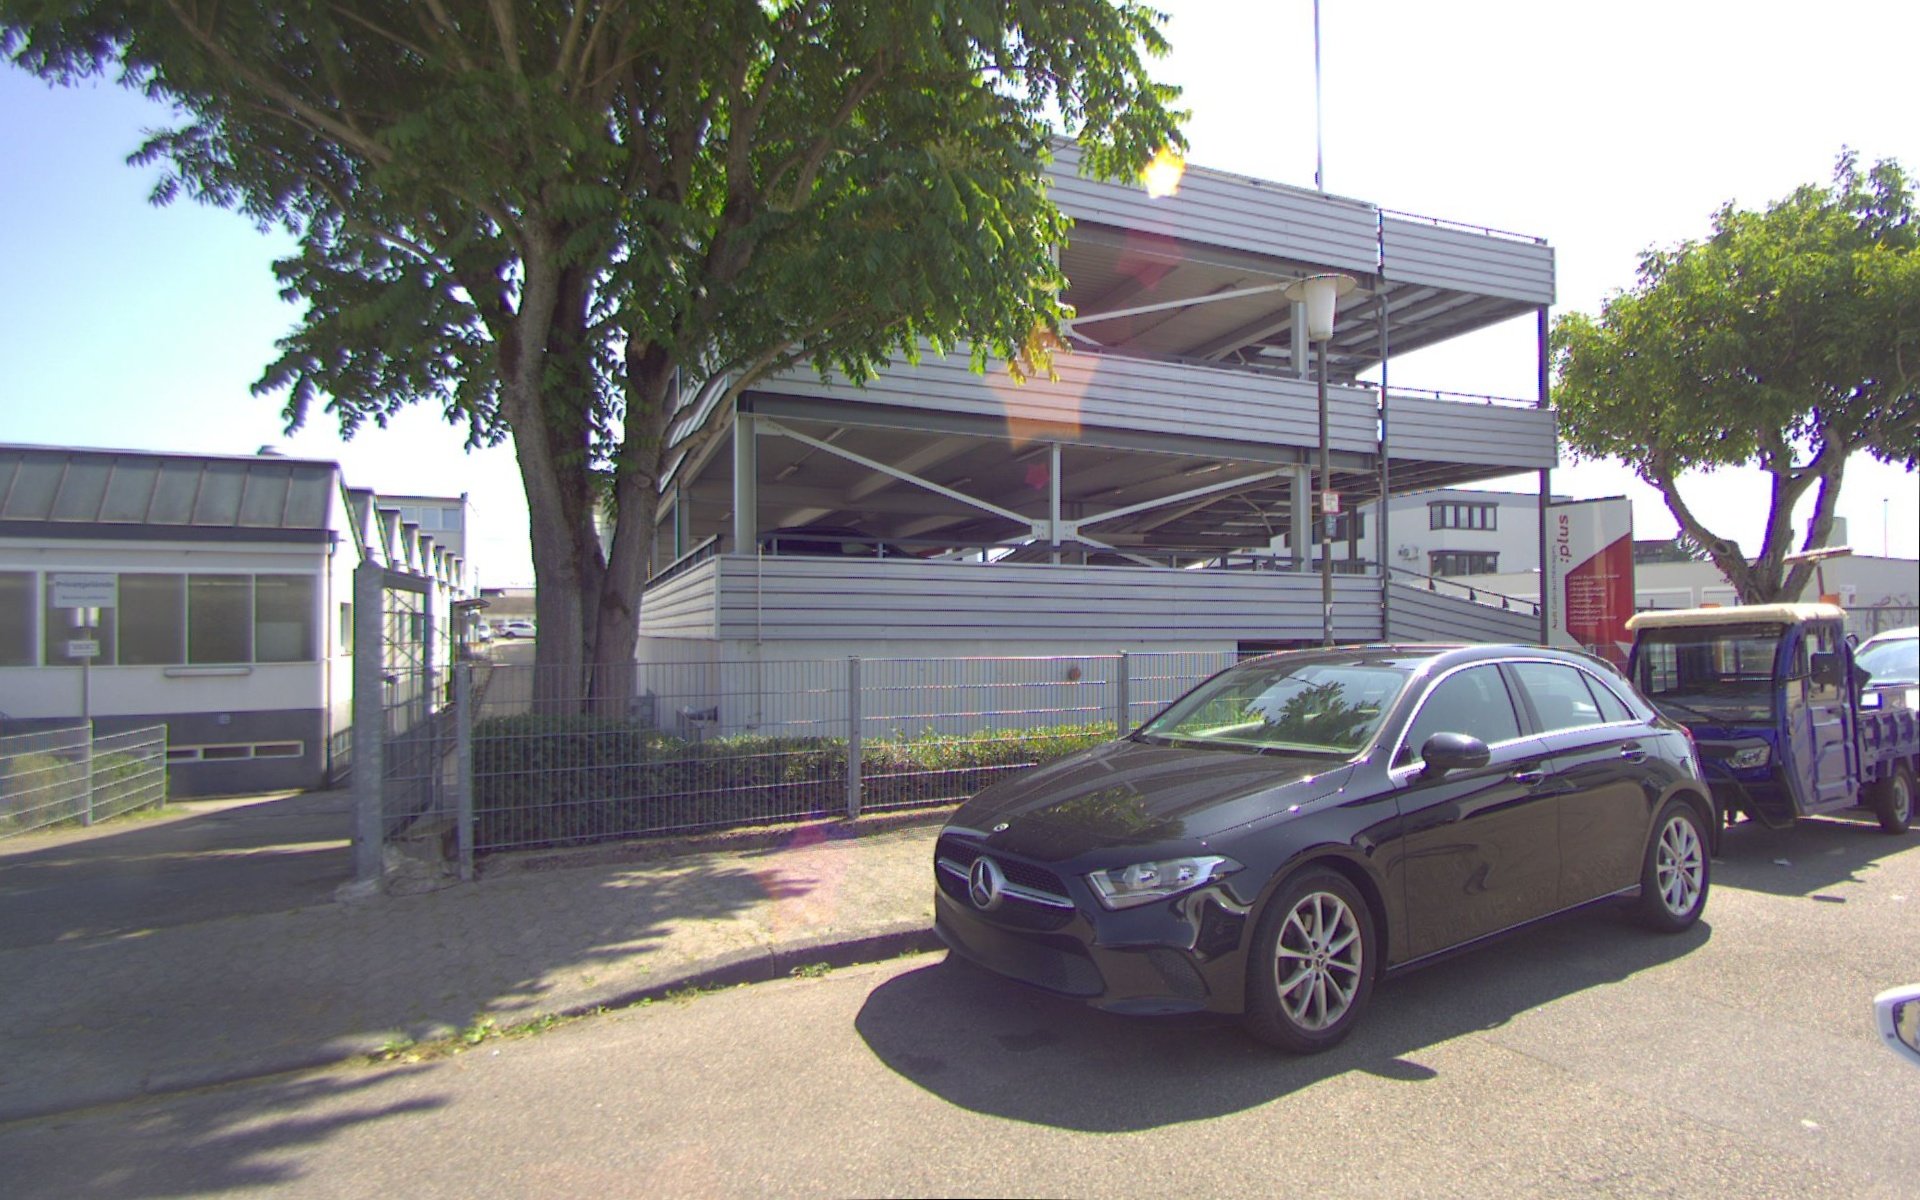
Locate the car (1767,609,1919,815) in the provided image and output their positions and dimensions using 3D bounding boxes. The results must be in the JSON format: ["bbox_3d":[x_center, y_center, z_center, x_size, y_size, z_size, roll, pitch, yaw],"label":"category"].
[{"bbox_3d":[9.239,0.943,9.294,3.934,1.645,1.694,1,-3,-35],"label":"car"}]

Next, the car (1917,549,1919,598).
[{"bbox_3d":[13.630,0.604,11.930,5.171,2.397,1.995,1,-3,-32],"label":"car"}]

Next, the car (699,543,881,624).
[{"bbox_3d":[-4.020,-0.364,24.126,3.920,1.693,1.819,2,-2,4],"label":"car"}]

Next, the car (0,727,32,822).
[{"bbox_3d":[-17.641,2.904,15.852,3.948,1.461,1.987,1,-2,-27],"label":"car"}]

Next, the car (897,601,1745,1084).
[{"bbox_3d":[1.883,0.820,4.898,4.067,1.482,1.696,1,-3,-31],"label":"car"}]

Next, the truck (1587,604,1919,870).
[{"bbox_3d":[6.130,0.901,7.548,3.107,1.643,1.132,1,-4,-33],"label":"truck"}]

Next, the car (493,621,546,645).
[{"bbox_3d":[-40.838,3.034,93.145,4.524,2.039,1.989,0,-5,-26],"label":"car"}]

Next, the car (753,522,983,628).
[{"bbox_3d":[-1.601,-0.417,18.518,3.920,1.693,1.819,2,-2,4],"label":"car"}]

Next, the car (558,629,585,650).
[{"bbox_3d":[-30.354,3.046,78.528,1.922,1.550,4.322,0,-2,-20],"label":"car"}]
